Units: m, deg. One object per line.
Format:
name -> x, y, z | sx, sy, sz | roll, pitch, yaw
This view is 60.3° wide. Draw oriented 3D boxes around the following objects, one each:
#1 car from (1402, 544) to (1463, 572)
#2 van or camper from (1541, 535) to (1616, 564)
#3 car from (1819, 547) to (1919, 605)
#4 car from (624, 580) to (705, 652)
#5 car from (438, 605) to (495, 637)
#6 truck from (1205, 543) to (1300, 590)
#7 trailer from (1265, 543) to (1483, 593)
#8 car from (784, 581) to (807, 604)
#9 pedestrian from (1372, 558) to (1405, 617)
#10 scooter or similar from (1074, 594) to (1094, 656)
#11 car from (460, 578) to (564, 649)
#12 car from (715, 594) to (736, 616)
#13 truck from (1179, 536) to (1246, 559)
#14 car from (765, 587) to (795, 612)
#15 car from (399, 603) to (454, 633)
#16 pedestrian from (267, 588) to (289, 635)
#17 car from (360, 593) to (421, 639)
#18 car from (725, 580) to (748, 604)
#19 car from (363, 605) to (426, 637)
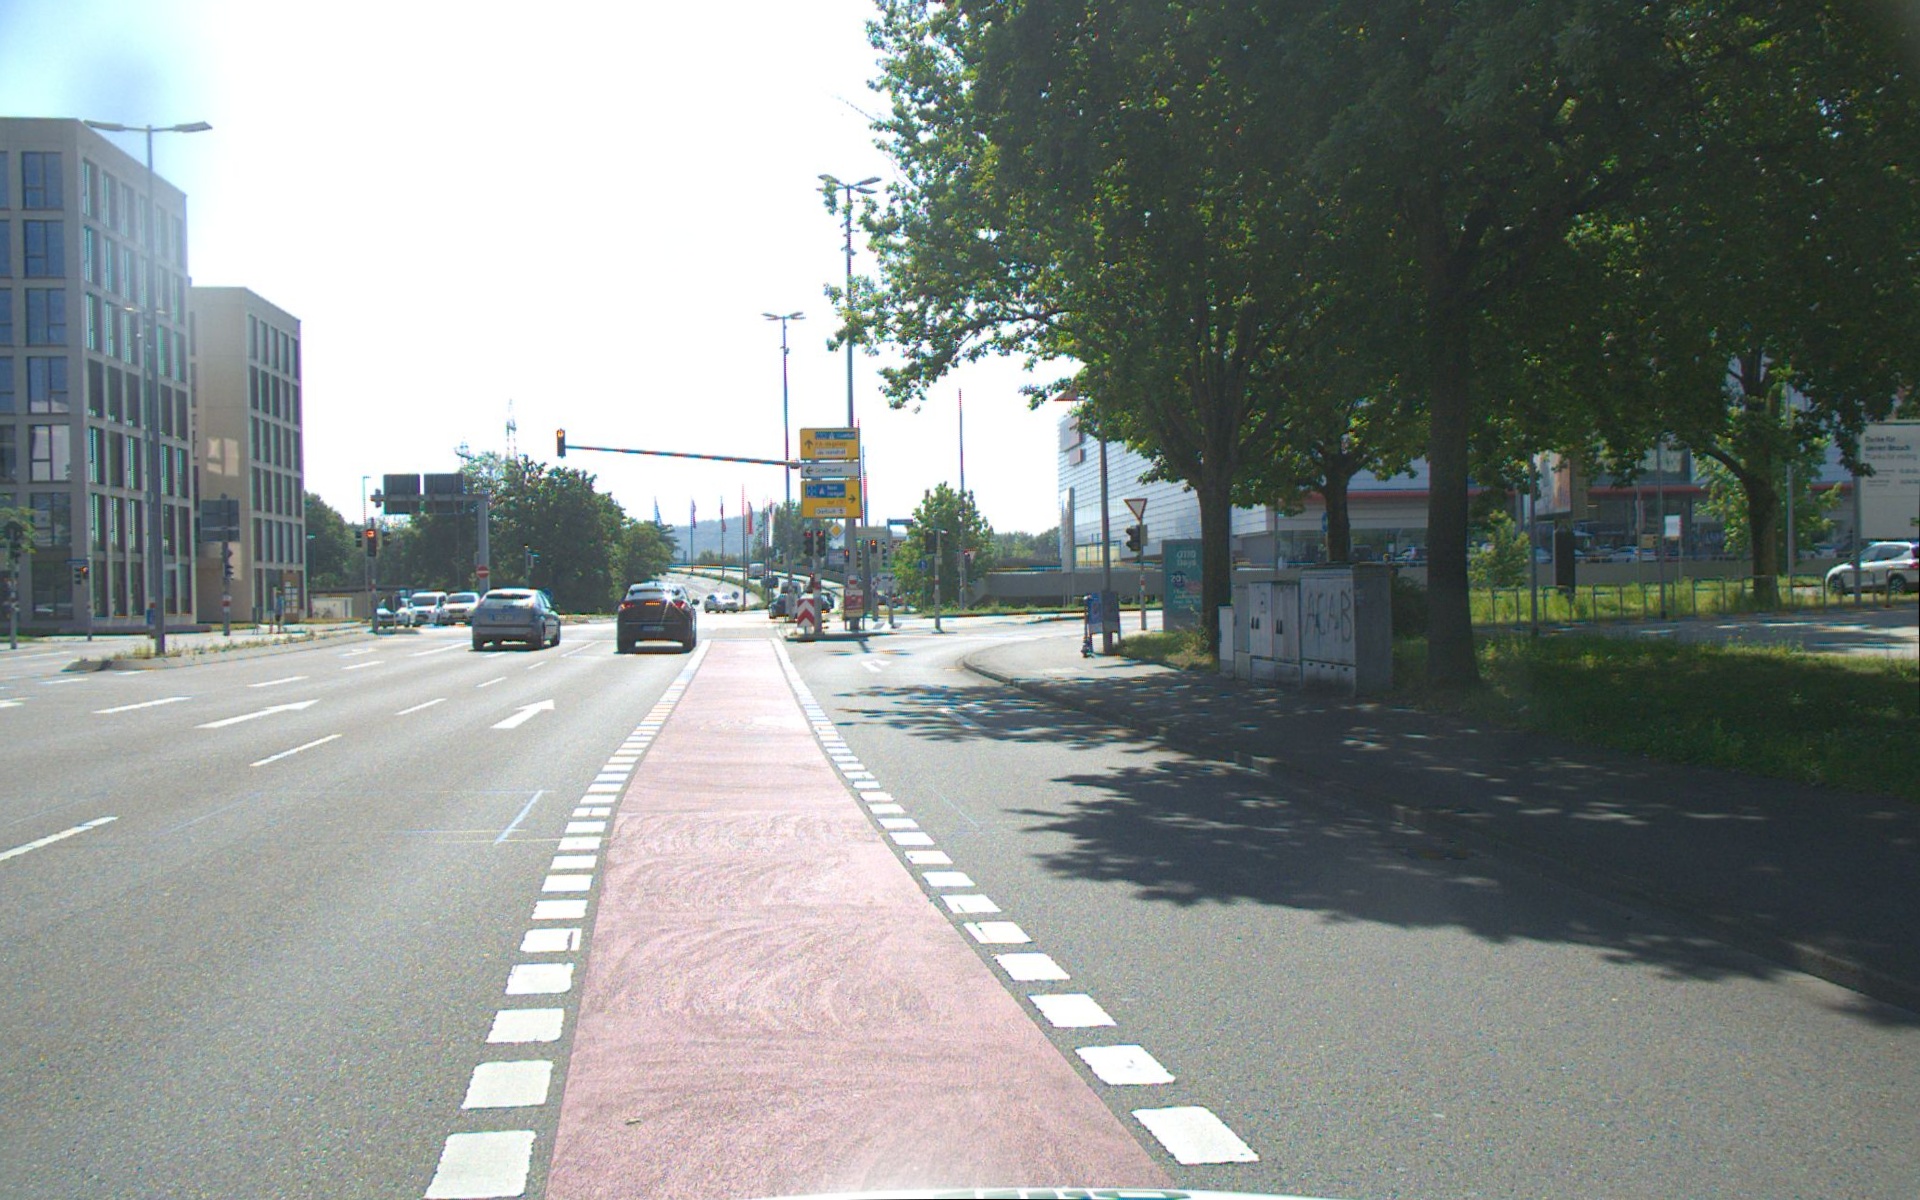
car -> 35.575, -3.170, 124.610 | 3.913, 2.048, 1.996 | 1, 1, -9
van or camper -> 46.640, -3.794, 124.781 | 4.890, 2.048, 1.997 | 1, 1, -8
car -> 25.551, -0.642, 45.111 | 1.754, 1.515, 3.917 | -1, 0, -10
car -> -7.469, 0.371, 42.083 | 1.773, 1.668, 4.451 | -2, 1, -8
car -> -24.771, 1.022, 83.109 | 1.779, 1.489, 3.998 | -2, 0, -3
truck -> 16.025, -1.861, 90.706 | 4.783, 2.466, 1.999 | 1, 1, -3
trailer -> 22.800, -1.761, 91.271 | 11.638, 2.512, 1.998 | 1, 1, -5
car -> -15.861, -0.725, 159.457 | 1.953, 2.048, 3.999 | 1, 1, -2
pedestrian -> 13.330, -0.382, 51.417 | 0.617, 1.801, 0.801 | -2, 0, -18
scooter or similar -> 2.596, 0.516, 34.638 | 0.344, 1.255, 1.312 | -2, 0, 6
car -> -11.543, 0.320, 42.855 | 1.955, 1.713, 3.995 | -1, 0, -6
car -> -20.397, 0.413, 143.830 | 1.727, 1.825, 3.340 | -1, 0, -9
truck -> 23.414, -4.861, 153.517 | 5.794, 2.048, 1.998 | 1, 1, -5
car -> -10.721, -0.053, 98.803 | 1.656, 1.382, 3.996 | 1, 1, -5
car -> -28.631, 0.967, 88.923 | 1.779, 1.489, 3.998 | -2, 0, -3
pedestrian -> -30.465, 0.514, 73.899 | 0.748, 2.048, 0.924 | 0, 1, -32
car -> -18.174, 0.497, 52.864 | 1.192, 1.354, 2.797 | 1, 1, -6
car -> -20.537, -0.741, 151.828 | 1.955, 2.048, 3.976 | 1, 1, -7
car -> -27.790, 1.011, 81.390 | 1.854, 1.489, 3.998 | -2, 0, -3
